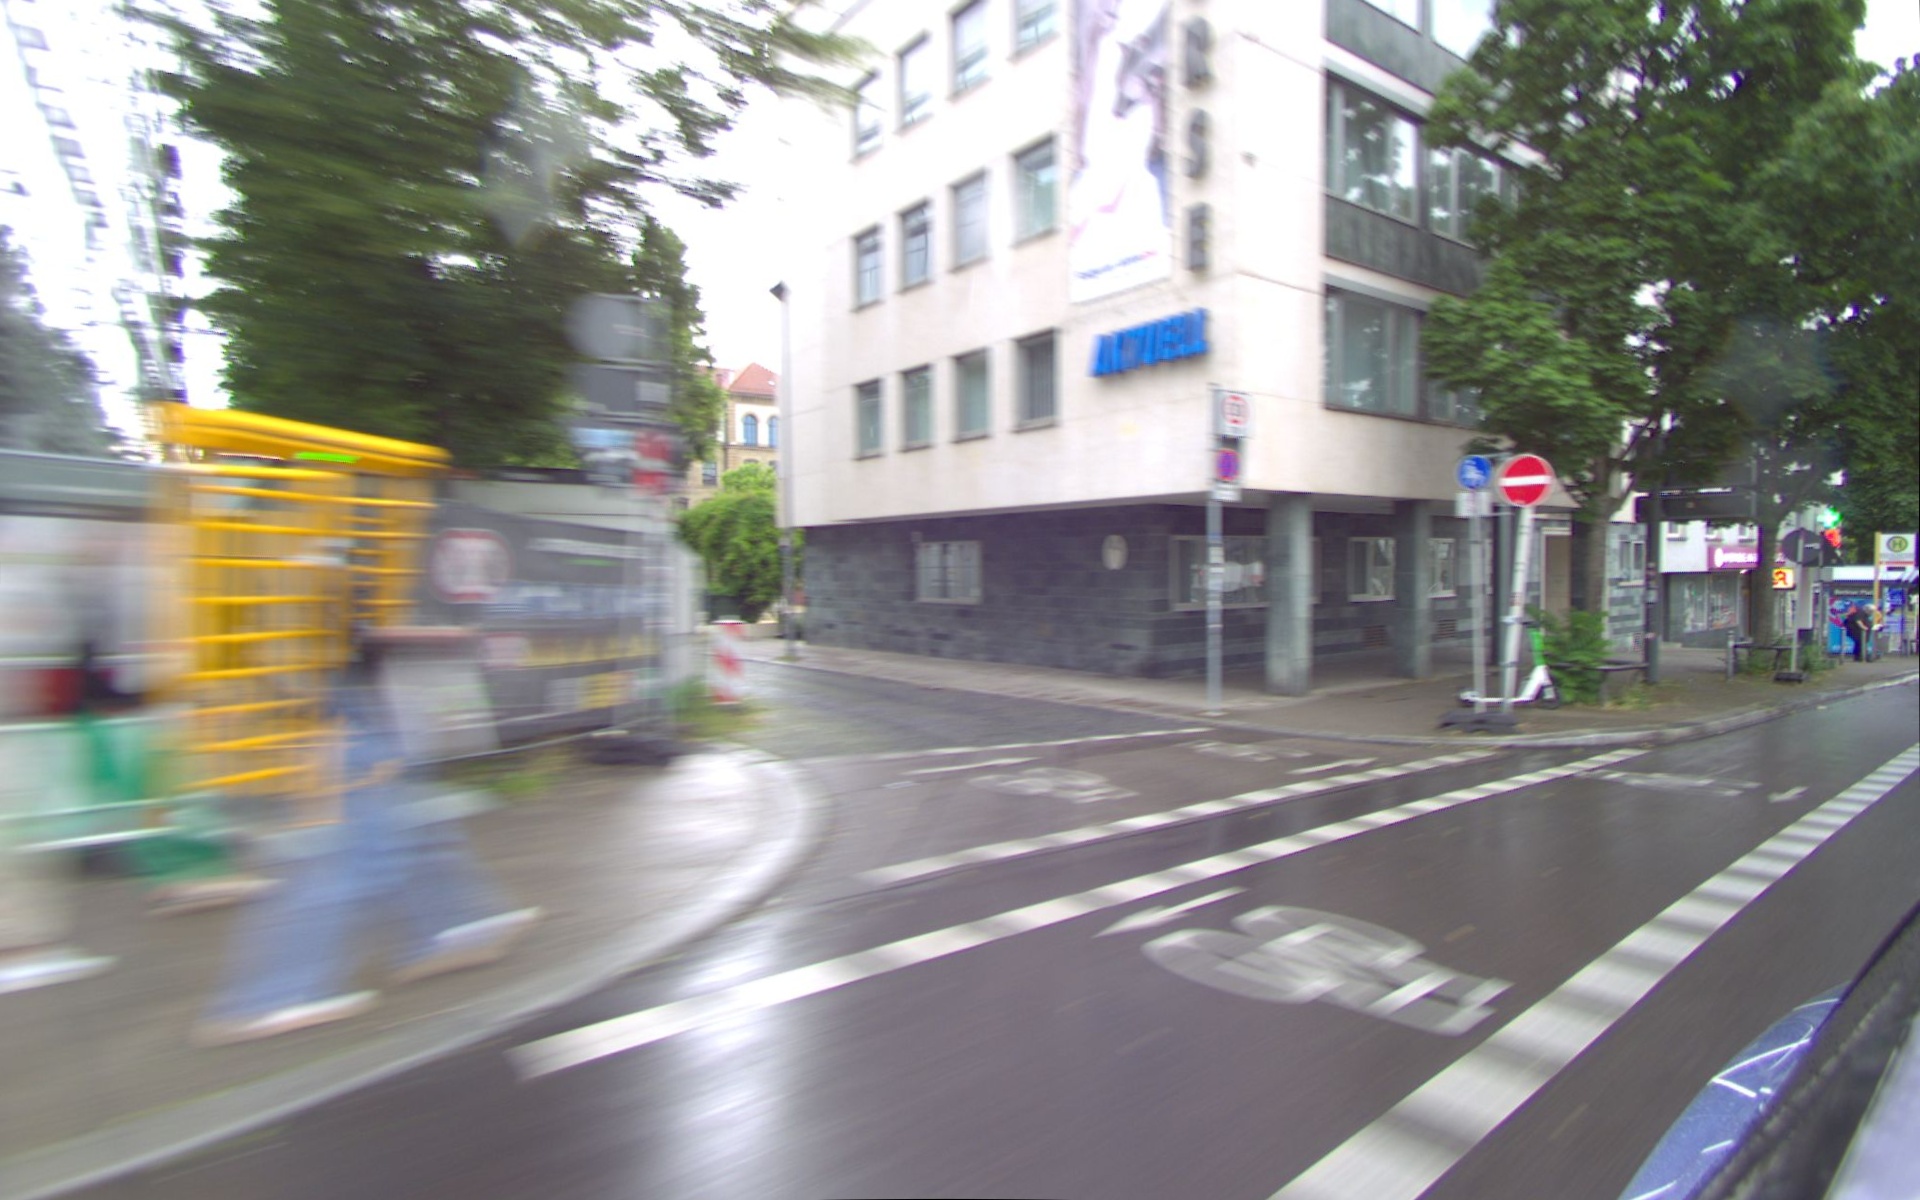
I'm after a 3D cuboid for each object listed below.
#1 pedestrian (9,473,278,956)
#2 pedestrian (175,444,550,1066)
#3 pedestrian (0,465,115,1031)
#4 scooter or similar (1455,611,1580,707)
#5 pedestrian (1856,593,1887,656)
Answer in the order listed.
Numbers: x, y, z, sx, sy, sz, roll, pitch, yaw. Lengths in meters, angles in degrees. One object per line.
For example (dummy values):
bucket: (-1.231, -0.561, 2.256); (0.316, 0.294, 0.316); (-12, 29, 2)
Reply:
pedestrian: (-3.404, 0.413, 4.241); (0.831, 1.783, 0.598); (0, 1, -43)
pedestrian: (-2.040, 0.431, 3.490); (0.718, 1.783, 0.944); (2, 1, 41)
pedestrian: (-3.409, 0.460, 3.276); (0.718, 1.783, 0.944); (2, 1, 41)
scooter or similar: (7.338, 0.758, 13.368); (1.366, 1.194, 0.509); (1, 1, 20)
pedestrian: (24.215, 0.649, 26.889); (0.476, 1.645, 0.560); (2, -1, -39)
